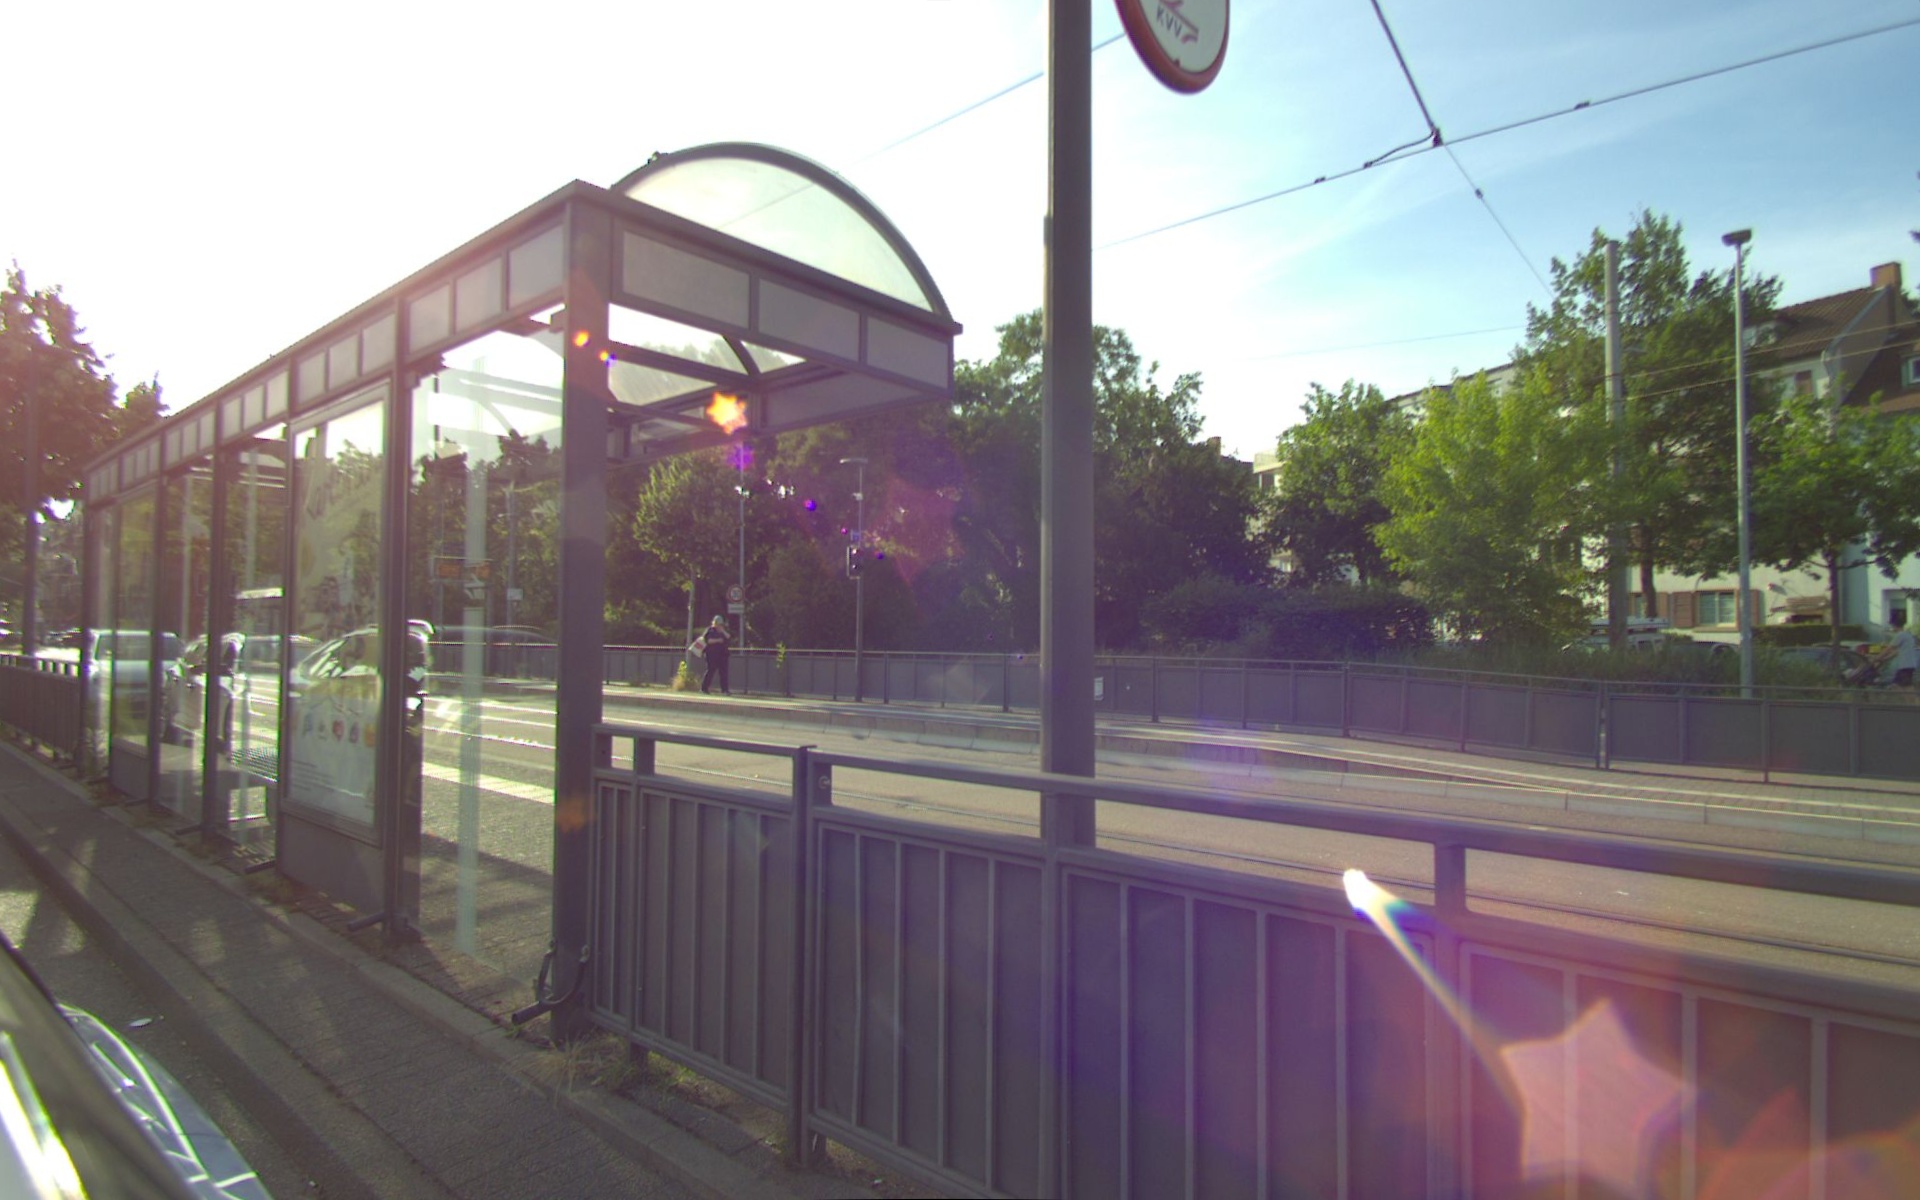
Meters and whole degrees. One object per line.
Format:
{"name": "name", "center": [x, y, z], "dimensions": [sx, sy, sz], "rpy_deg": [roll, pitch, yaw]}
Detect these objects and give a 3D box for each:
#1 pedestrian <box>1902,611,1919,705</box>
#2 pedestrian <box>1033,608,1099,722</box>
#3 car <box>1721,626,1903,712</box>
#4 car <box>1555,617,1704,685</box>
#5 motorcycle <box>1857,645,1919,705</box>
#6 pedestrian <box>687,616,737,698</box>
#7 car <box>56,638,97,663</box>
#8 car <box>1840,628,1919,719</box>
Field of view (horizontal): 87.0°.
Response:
{"name": "pedestrian", "center": [17.319, 1.041, 18.039], "dimensions": [0.669, 1.668, 0.367], "rpy_deg": [-1, -3, 34]}
{"name": "pedestrian", "center": [1.586, 0.958, 15.158], "dimensions": [0.727, 1.640, 0.699], "rpy_deg": [-2, -3, 41]}
{"name": "car", "center": [19.007, 1.487, 22.565], "dimensions": [3.931, 1.767, 1.860], "rpy_deg": [2, -3, -30]}
{"name": "car", "center": [18.462, 1.392, 27.884], "dimensions": [3.931, 1.767, 1.860], "rpy_deg": [2, -3, -30]}
{"name": "motorcycle", "center": [16.876, 1.348, 18.290], "dimensions": [0.919, 1.059, 0.495], "rpy_deg": [-1, -3, 35]}
{"name": "pedestrian", "center": [-5.138, 1.172, 20.948], "dimensions": [0.689, 1.640, 0.727], "rpy_deg": [-2, -3, 41]}
{"name": "car", "center": [-73.383, 4.200, 84.059], "dimensions": [3.997, 2.029, 1.973], "rpy_deg": [-2, -3, 41]}
{"name": "car", "center": [20.219, 1.493, 20.913], "dimensions": [3.931, 1.767, 1.860], "rpy_deg": [2, -3, -30]}
